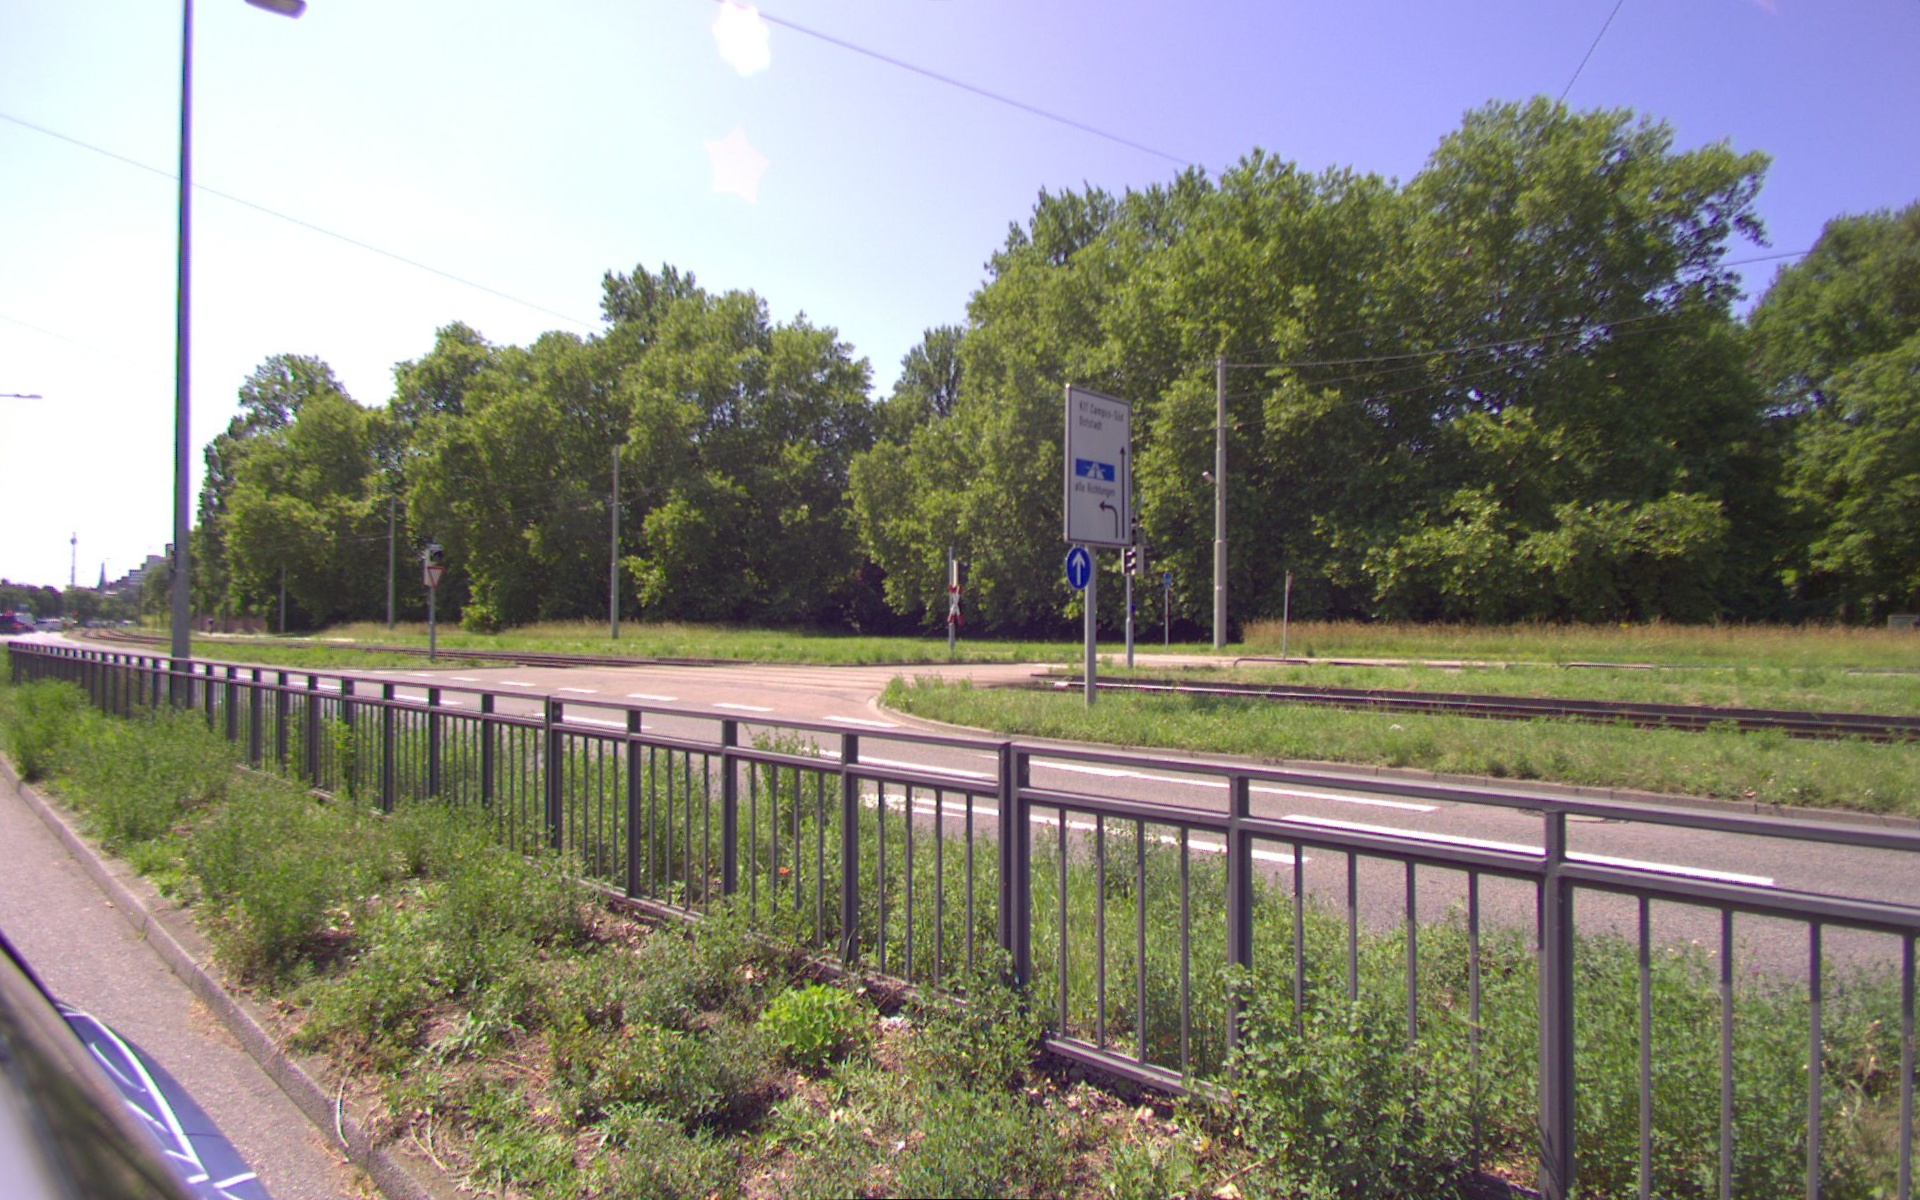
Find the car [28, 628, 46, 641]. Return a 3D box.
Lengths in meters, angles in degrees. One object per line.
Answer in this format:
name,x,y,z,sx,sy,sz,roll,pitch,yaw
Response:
car,-141.861,5.256,155.542,1.970,1.871,4.003,1,-2,-44

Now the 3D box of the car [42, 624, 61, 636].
car,-136.525,4.477,152.033,1.970,1.871,4.003,1,-2,-44

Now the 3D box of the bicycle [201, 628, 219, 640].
bicycle,-72.758,3.312,98.177,2.785,1.171,0.851,-1,-2,41

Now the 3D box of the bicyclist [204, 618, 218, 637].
bicyclist,-72.704,2.648,98.176,1.117,1.820,0.851,-1,-2,41

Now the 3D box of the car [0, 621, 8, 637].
car,-107.924,3.246,113.301,1.970,1.871,4.004,1,-2,-43

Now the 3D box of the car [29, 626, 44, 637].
car,-161.545,5.506,177.000,1.970,1.871,4.004,1,-2,-43
